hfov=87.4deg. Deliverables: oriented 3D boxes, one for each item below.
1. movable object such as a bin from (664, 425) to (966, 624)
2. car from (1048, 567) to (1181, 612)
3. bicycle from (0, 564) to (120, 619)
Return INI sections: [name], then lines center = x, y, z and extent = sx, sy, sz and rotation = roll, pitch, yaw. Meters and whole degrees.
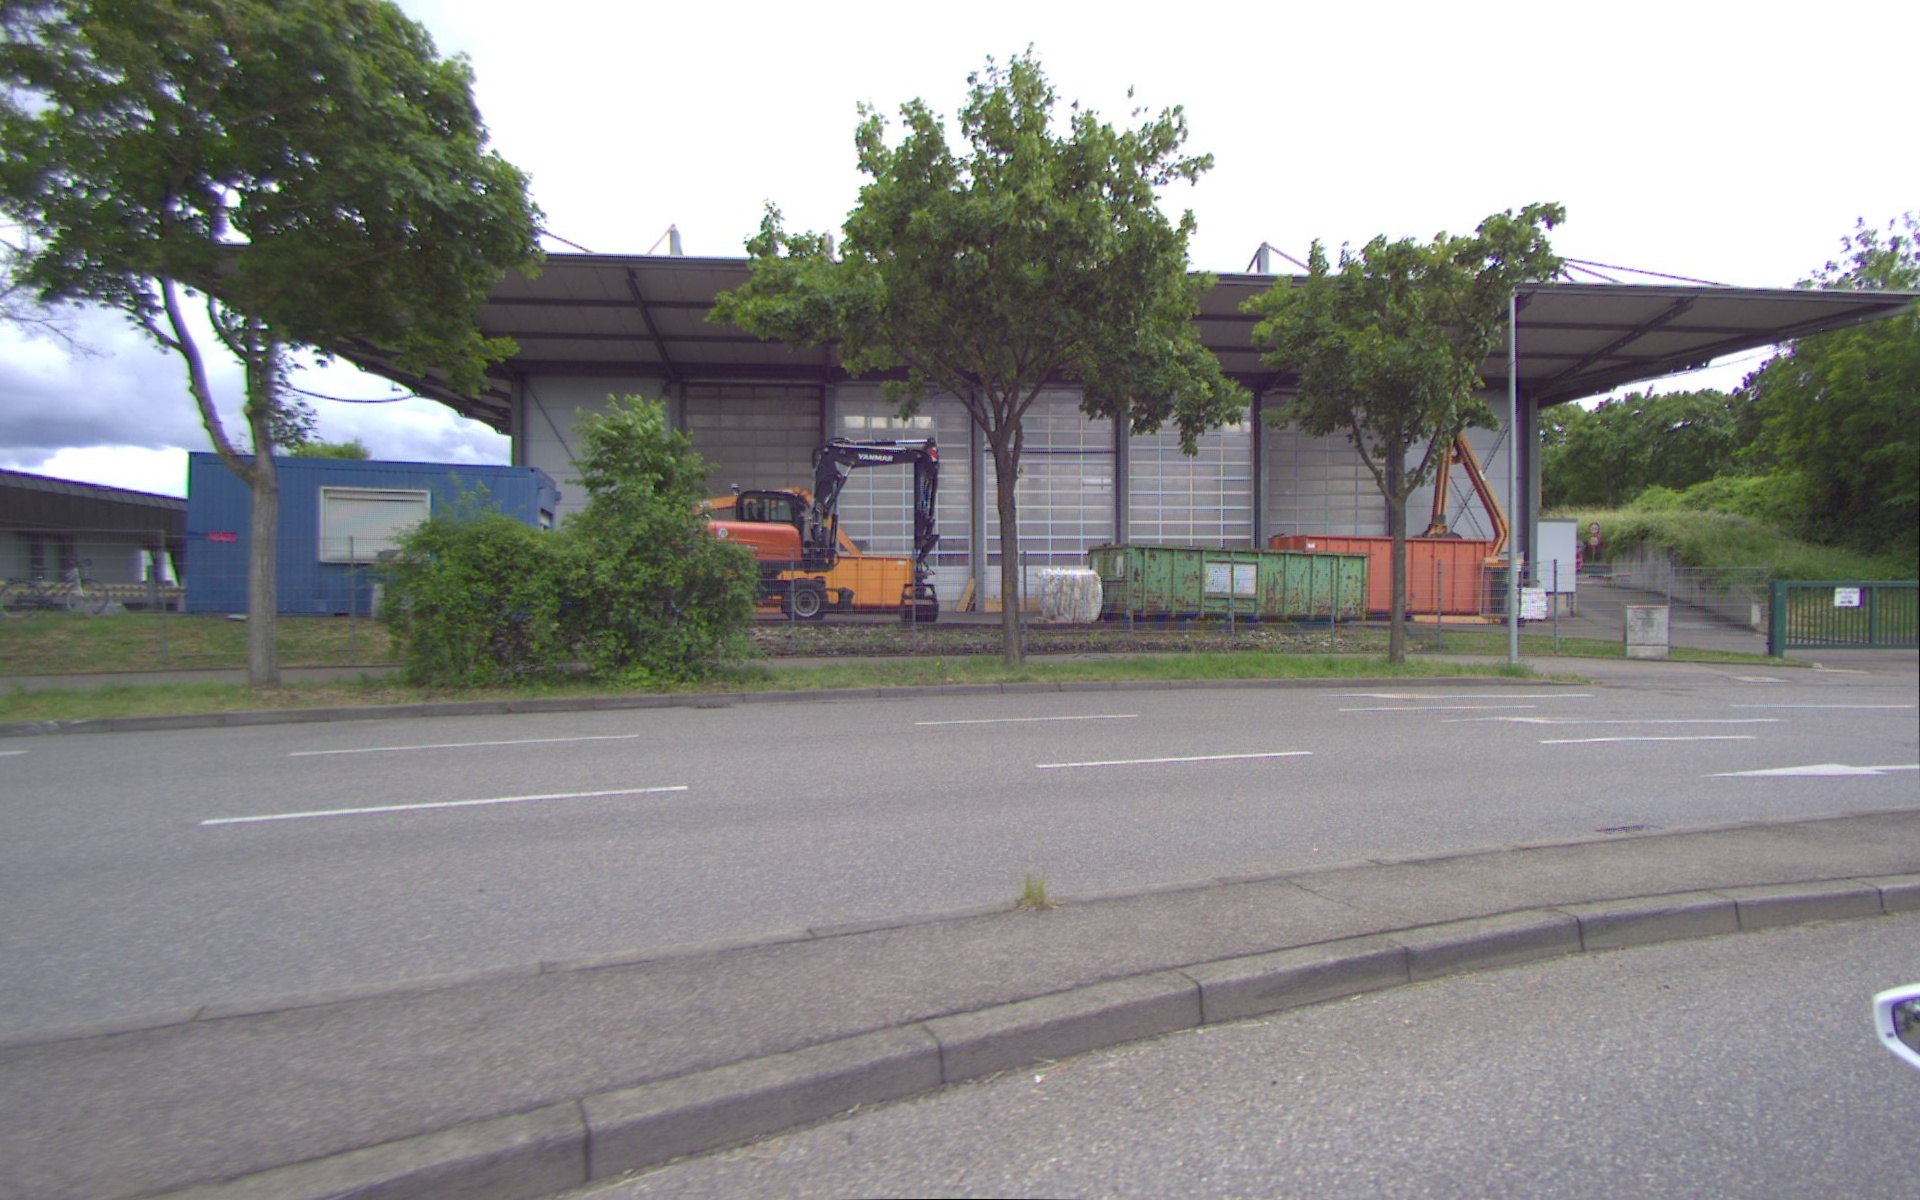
[movable object such as a bin]
center = -3.325, -1.602, 23.067
extent = 6.440, 4.146, 2.727
rotation = -1, 0, -14
[car]
center = 4.940, -0.338, 32.367
extent = 3.925, 1.392, 1.736
rotation = 0, 0, -6
[bicycle]
center = -16.525, -0.152, 18.312
extent = 1.731, 0.987, 0.661
rotation = -1, 0, -14
